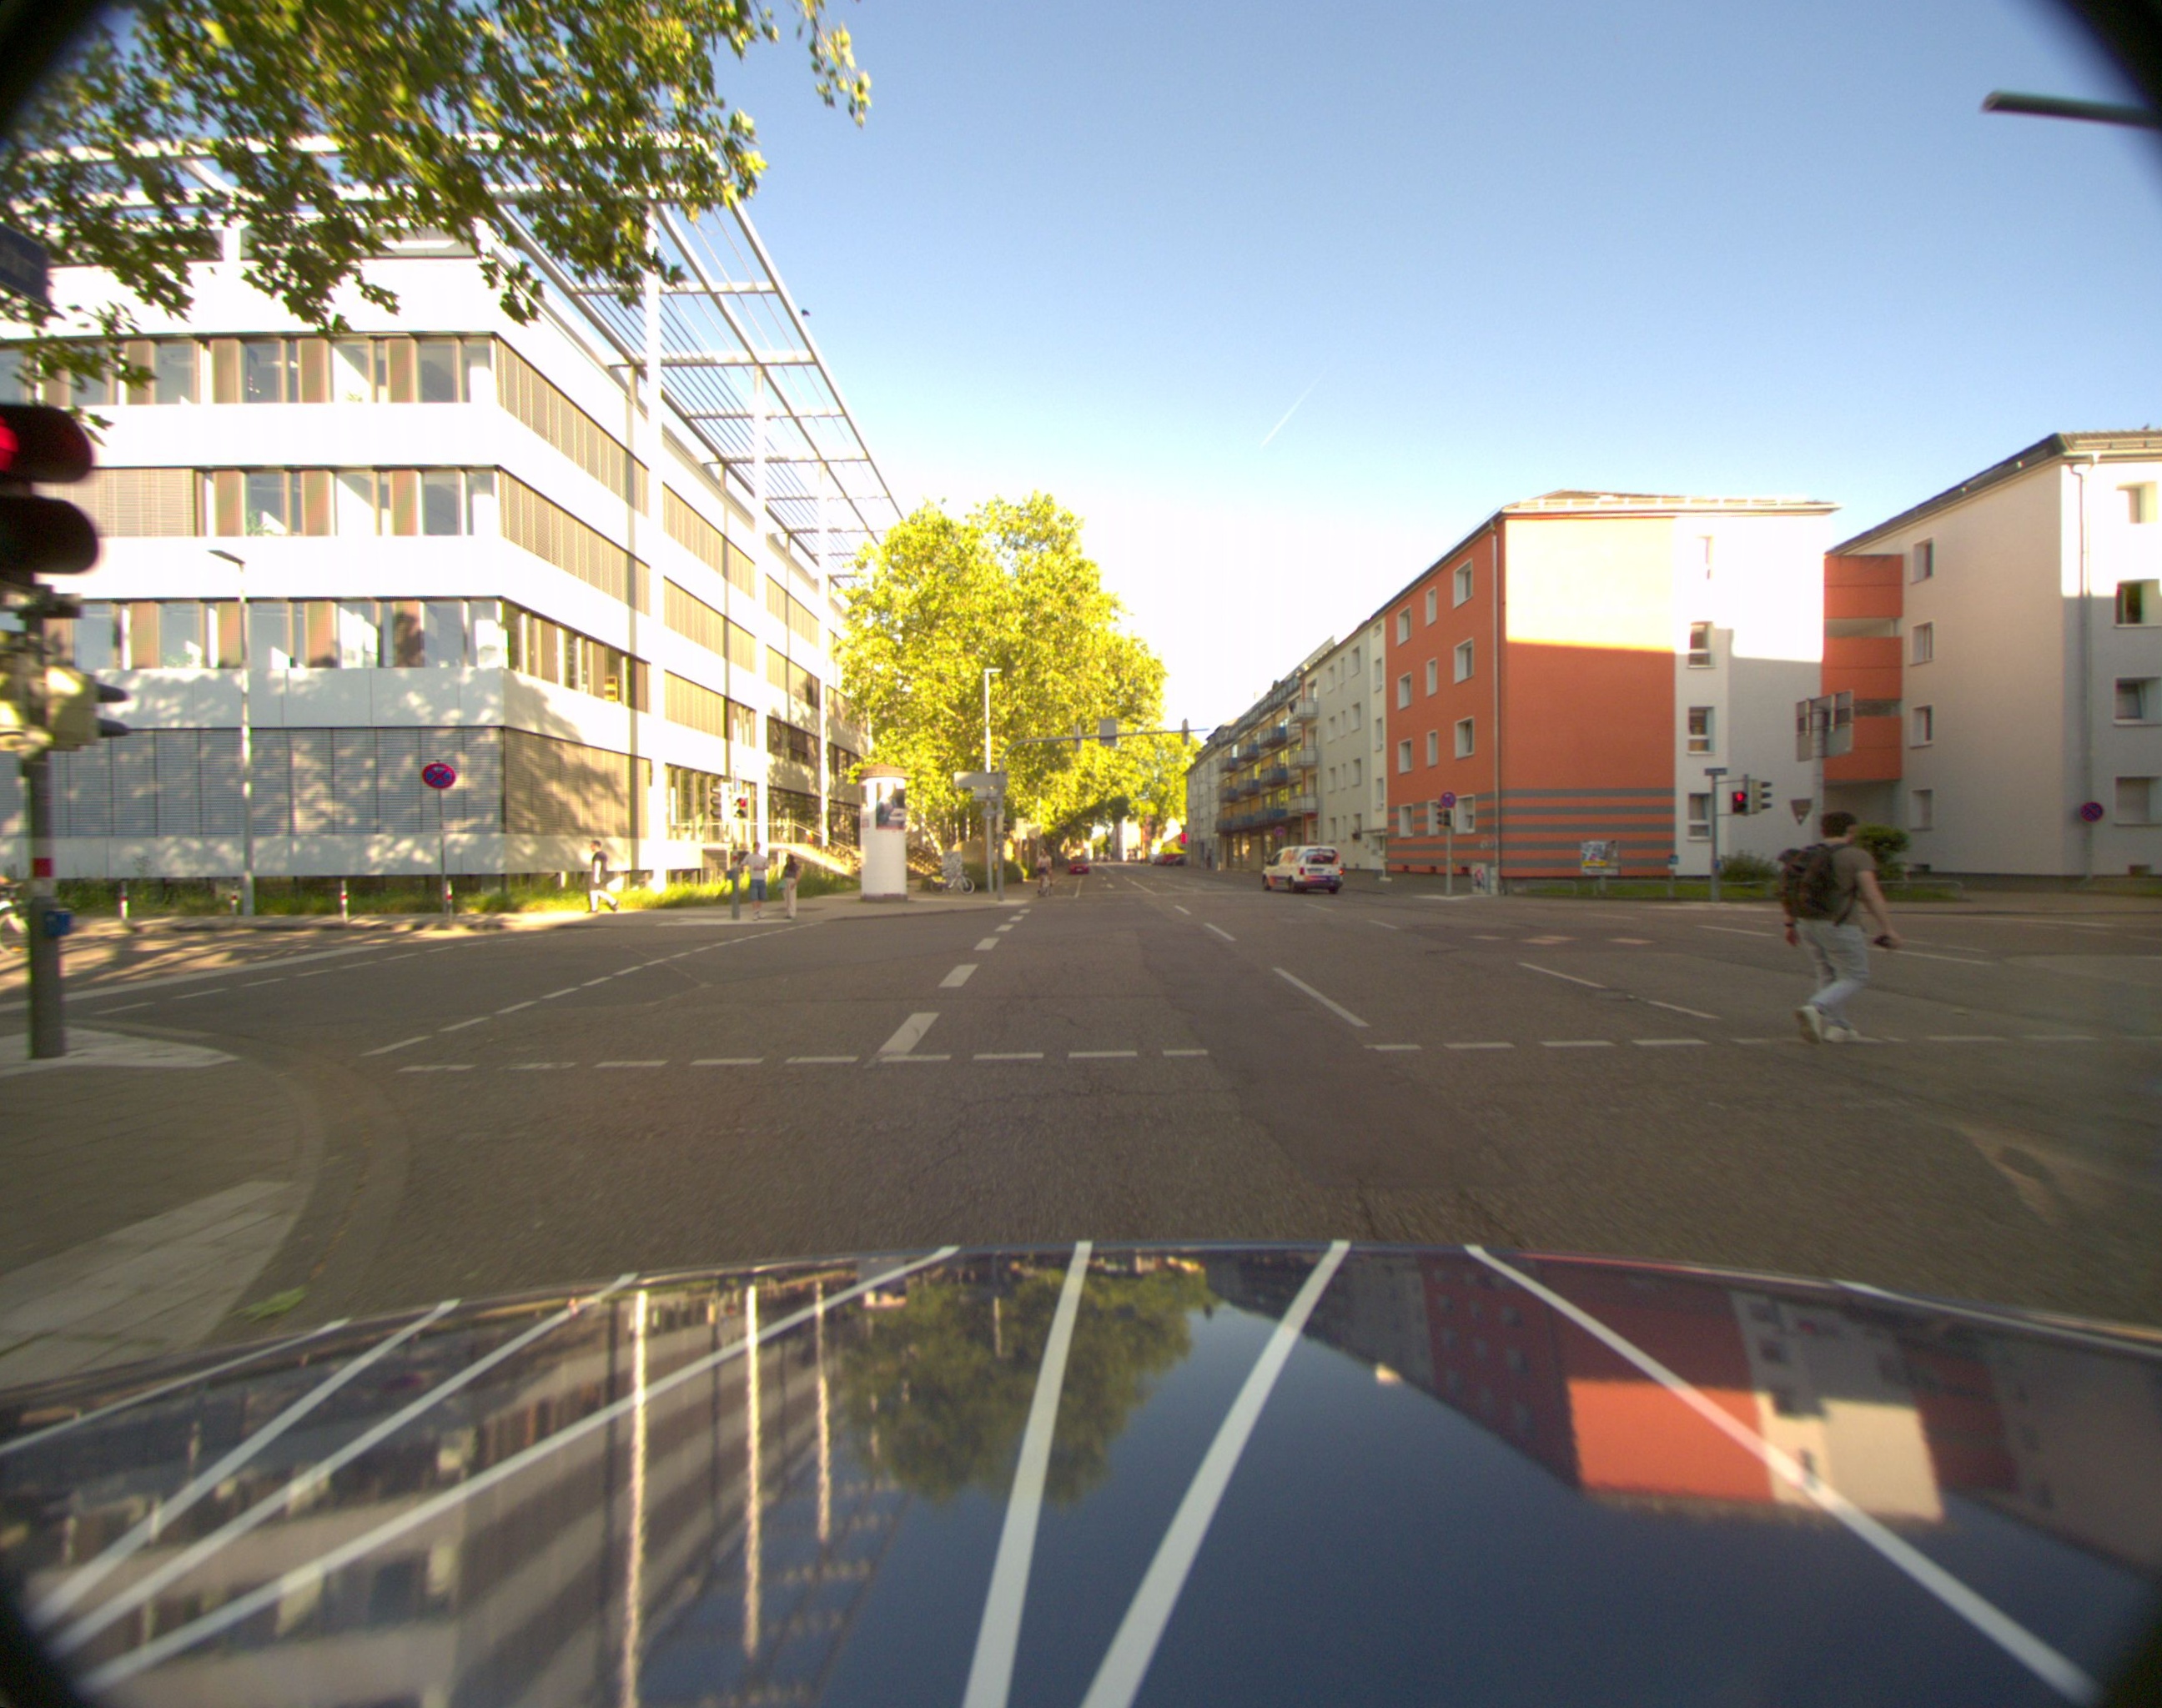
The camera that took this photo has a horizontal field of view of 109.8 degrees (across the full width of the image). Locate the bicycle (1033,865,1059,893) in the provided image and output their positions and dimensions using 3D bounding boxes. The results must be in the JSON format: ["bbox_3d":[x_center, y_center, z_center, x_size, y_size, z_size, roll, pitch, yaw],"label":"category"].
[{"bbox_3d":[-1.390,0.988,30.426,0.703,1.060,1.930,0,-1,8],"label":"bicycle"}]

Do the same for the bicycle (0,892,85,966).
[{"bbox_3d":[-16.216,1.101,11.086,2.025,1.011,0.717,0,2,-13],"label":"bicycle"}]

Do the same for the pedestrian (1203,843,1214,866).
[{"bbox_3d":[13.111,0.043,78.293,0.914,2.382,1.088,0,1,0],"label":"pedestrian"}]

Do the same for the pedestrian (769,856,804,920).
[{"bbox_3d":[-7.055,0.798,18.205,0.673,1.515,0.560,-1,1,-12],"label":"pedestrian"}]

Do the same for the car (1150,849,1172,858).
[{"bbox_3d":[15.115,-0.012,143.393,3.996,1.689,1.834,0,0,2],"label":"car"}]

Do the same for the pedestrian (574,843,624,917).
[{"bbox_3d":[-11.834,0.617,18.674,0.997,1.761,0.604,0,1,-31],"label":"pedestrian"}]

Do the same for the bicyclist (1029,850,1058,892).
[{"bbox_3d":[-1.491,0.667,30.094,0.949,1.630,1.008,-1,1,8],"label":"bicyclist"}]

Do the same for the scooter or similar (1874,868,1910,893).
[{"bbox_3d":[26.316,0.848,24.671,0.301,0.783,0.744,-1,1,-15],"label":"scooter or similar"}]

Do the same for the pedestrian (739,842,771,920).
[{"bbox_3d":[-7.798,0.627,18.205,0.604,1.828,0.569,-1,1,-15],"label":"pedestrian"}]

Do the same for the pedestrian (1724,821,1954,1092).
[{"bbox_3d":[5.291,0.669,5.371,0.883,1.761,0.748,0,0,10],"label":"pedestrian"}]

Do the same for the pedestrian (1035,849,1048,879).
[{"bbox_3d":[-2.456,0.613,47.313,0.671,1.786,0.665,-3,2,-6],"label":"pedestrian"}]

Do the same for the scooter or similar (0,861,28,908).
[{"bbox_3d":[-28.011,0.765,19.266,1.557,1.173,0.699,0,1,-3],"label":"scooter or similar"}]

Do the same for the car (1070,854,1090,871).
[{"bbox_3d":[-0.153,0.751,71.522,1.786,1.520,4.657,0,0,-1],"label":"car"}]

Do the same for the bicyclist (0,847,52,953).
[{"bbox_3d":[-16.199,0.666,11.082,1.088,1.526,0.877,0,0,-12],"label":"bicyclist"}]

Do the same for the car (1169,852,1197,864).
[{"bbox_3d":[15.108,0.576,112.926,3.996,1.689,1.834,0,0,2],"label":"car"}]

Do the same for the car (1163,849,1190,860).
[{"bbox_3d":[14.784,0.019,118.192,3.996,1.689,1.834,0,0,2],"label":"car"}]

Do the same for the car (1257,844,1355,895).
[{"bbox_3d":[8.694,0.582,29.932,1.999,1.806,5.124,1,-1,-4],"label":"car"}]

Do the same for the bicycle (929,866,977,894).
[{"bbox_3d":[-4.777,0.975,28.336,1.638,0.993,0.621,1,2,-25],"label":"bicycle"}]
